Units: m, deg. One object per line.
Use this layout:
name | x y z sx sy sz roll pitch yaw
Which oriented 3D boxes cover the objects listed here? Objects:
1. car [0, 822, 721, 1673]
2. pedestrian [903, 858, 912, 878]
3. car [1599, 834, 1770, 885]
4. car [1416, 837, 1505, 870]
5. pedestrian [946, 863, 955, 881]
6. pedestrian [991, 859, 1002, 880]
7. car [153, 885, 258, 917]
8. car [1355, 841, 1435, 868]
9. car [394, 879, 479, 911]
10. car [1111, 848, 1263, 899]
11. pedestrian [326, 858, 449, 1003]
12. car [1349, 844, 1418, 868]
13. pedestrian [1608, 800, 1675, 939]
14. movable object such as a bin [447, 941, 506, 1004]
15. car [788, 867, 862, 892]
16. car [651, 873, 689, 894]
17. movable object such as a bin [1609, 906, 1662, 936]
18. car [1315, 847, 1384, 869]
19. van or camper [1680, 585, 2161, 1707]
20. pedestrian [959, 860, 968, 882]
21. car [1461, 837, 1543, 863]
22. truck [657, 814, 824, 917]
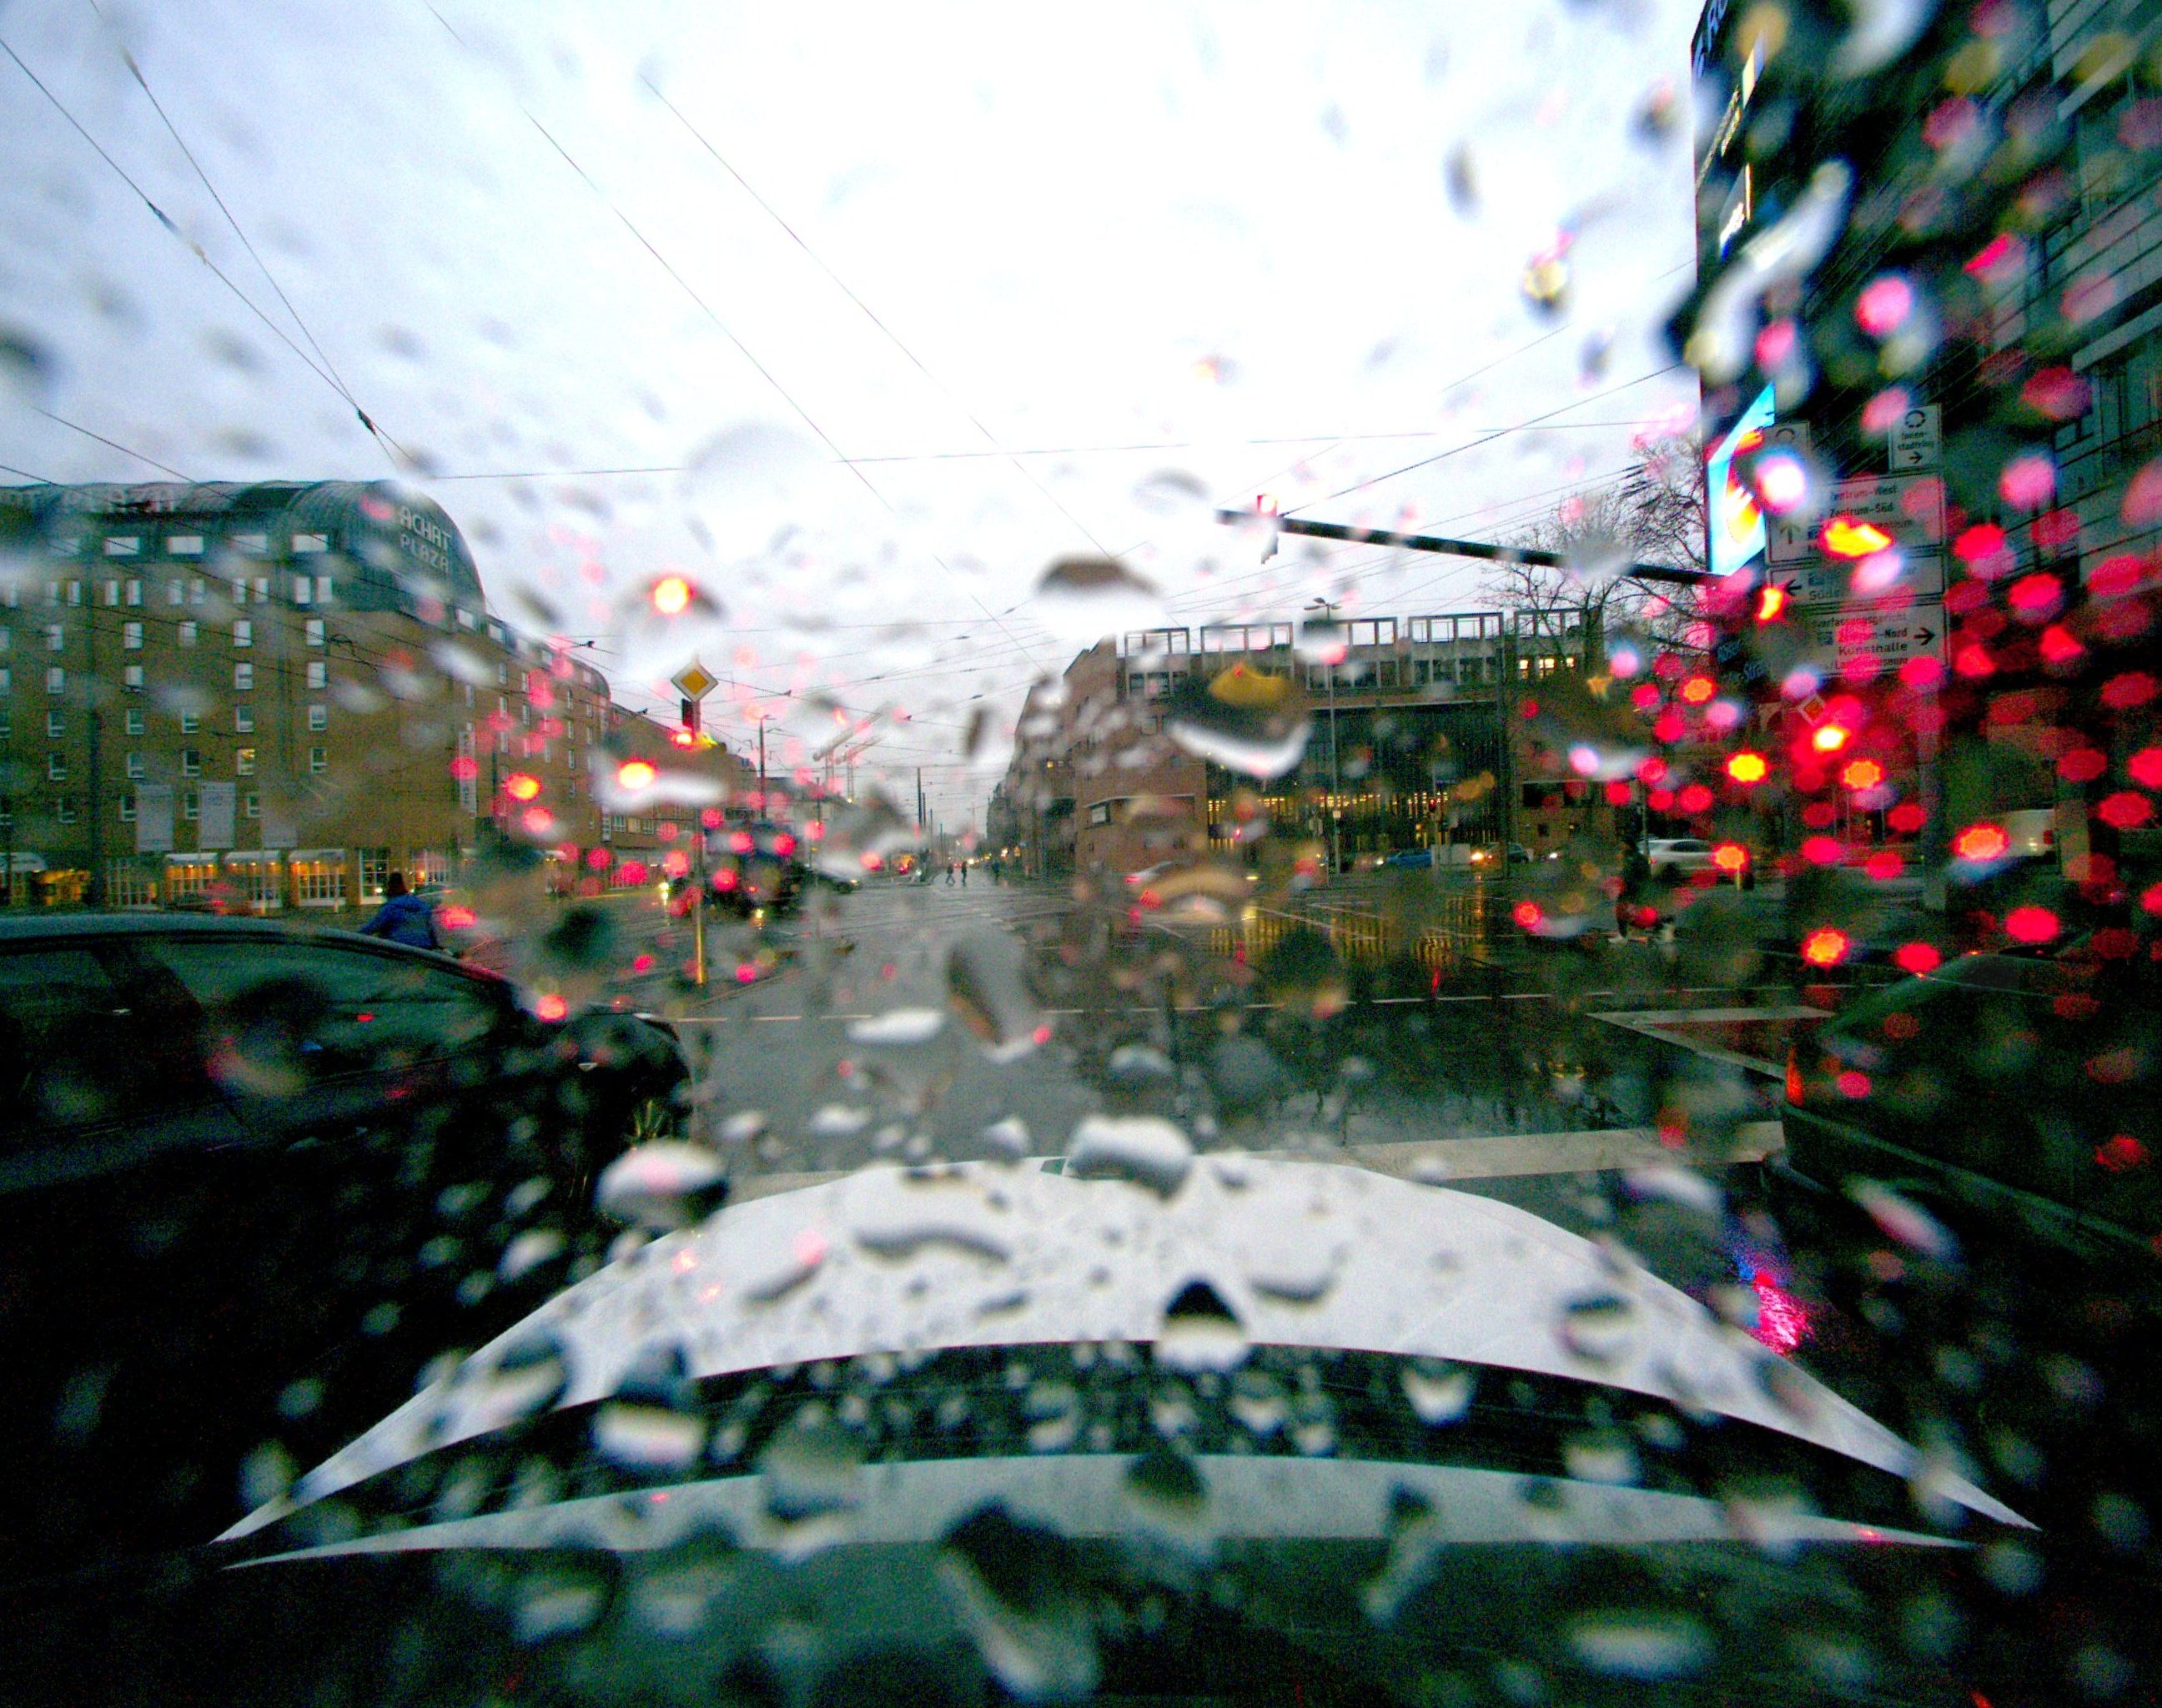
car | -2.742 0.732 2.135 1.623 1.523 3.944 -2 0 3
pedestrian | -15.639 1.273 73.340 0.694 1.724 0.762 -2 0 -13
car | 21.448 0.197 29.025 4.814 1.561 2.045 -2 0 -8
car | 20.428 -0.060 43.892 3.979 1.504 1.845 -2 4 -4
pedestrian | -10.668 1.482 66.563 0.700 1.484 0.574 -2 0 -9
pedestrian | -6.860 1.258 66.176 0.843 1.687 0.647 -2 0 -9
car | -45.647 2.446 42.509 3.729 1.459 1.705 -2 0 3
car | 18.308 0.012 47.524 3.979 1.263 1.845 -2 4 -4
car | -31.756 1.993 40.103 3.950 1.447 1.721 -2 0 26
car | 3.815 0.673 29.062 4.946 1.607 2.265 -2 0 19
pedestrian | -8.357 0.886 9.823 1.043 1.601 0.707 -3 -1 -43
car | 19.140 0.117 51.593 3.713 1.263 1.845 -2 4 -4
pedestrian | 9.102 0.249 13.244 0.574 2.184 0.619 -1 -1 -4
movable object such as a bin | -7.596 1.475 10.238 0.541 0.699 0.407 -2 -2 -42
car | -14.827 1.477 47.428 3.993 1.441 1.706 1 -1 -15
car | -36.005 2.547 71.506 1.995 1.670 3.983 -2 0 -12
movable object such as a bin | 9.366 1.127 13.757 0.676 0.469 0.312 -1 -1 -4
car | 18.242 0.288 55.443 3.977 1.310 1.998 -2 0 -2
van or camper | 2.669 0.493 0.298 1.750 1.906 4.420 -1 0 2
pedestrian | -9.305 1.351 64.670 0.665 1.725 0.487 -2 0 -9
car | 24.815 -0.258 48.077 3.979 1.288 1.845 -2 4 -4
truck | -13.533 0.482 32.050 7.430 3.633 2.866 -2 0 40
